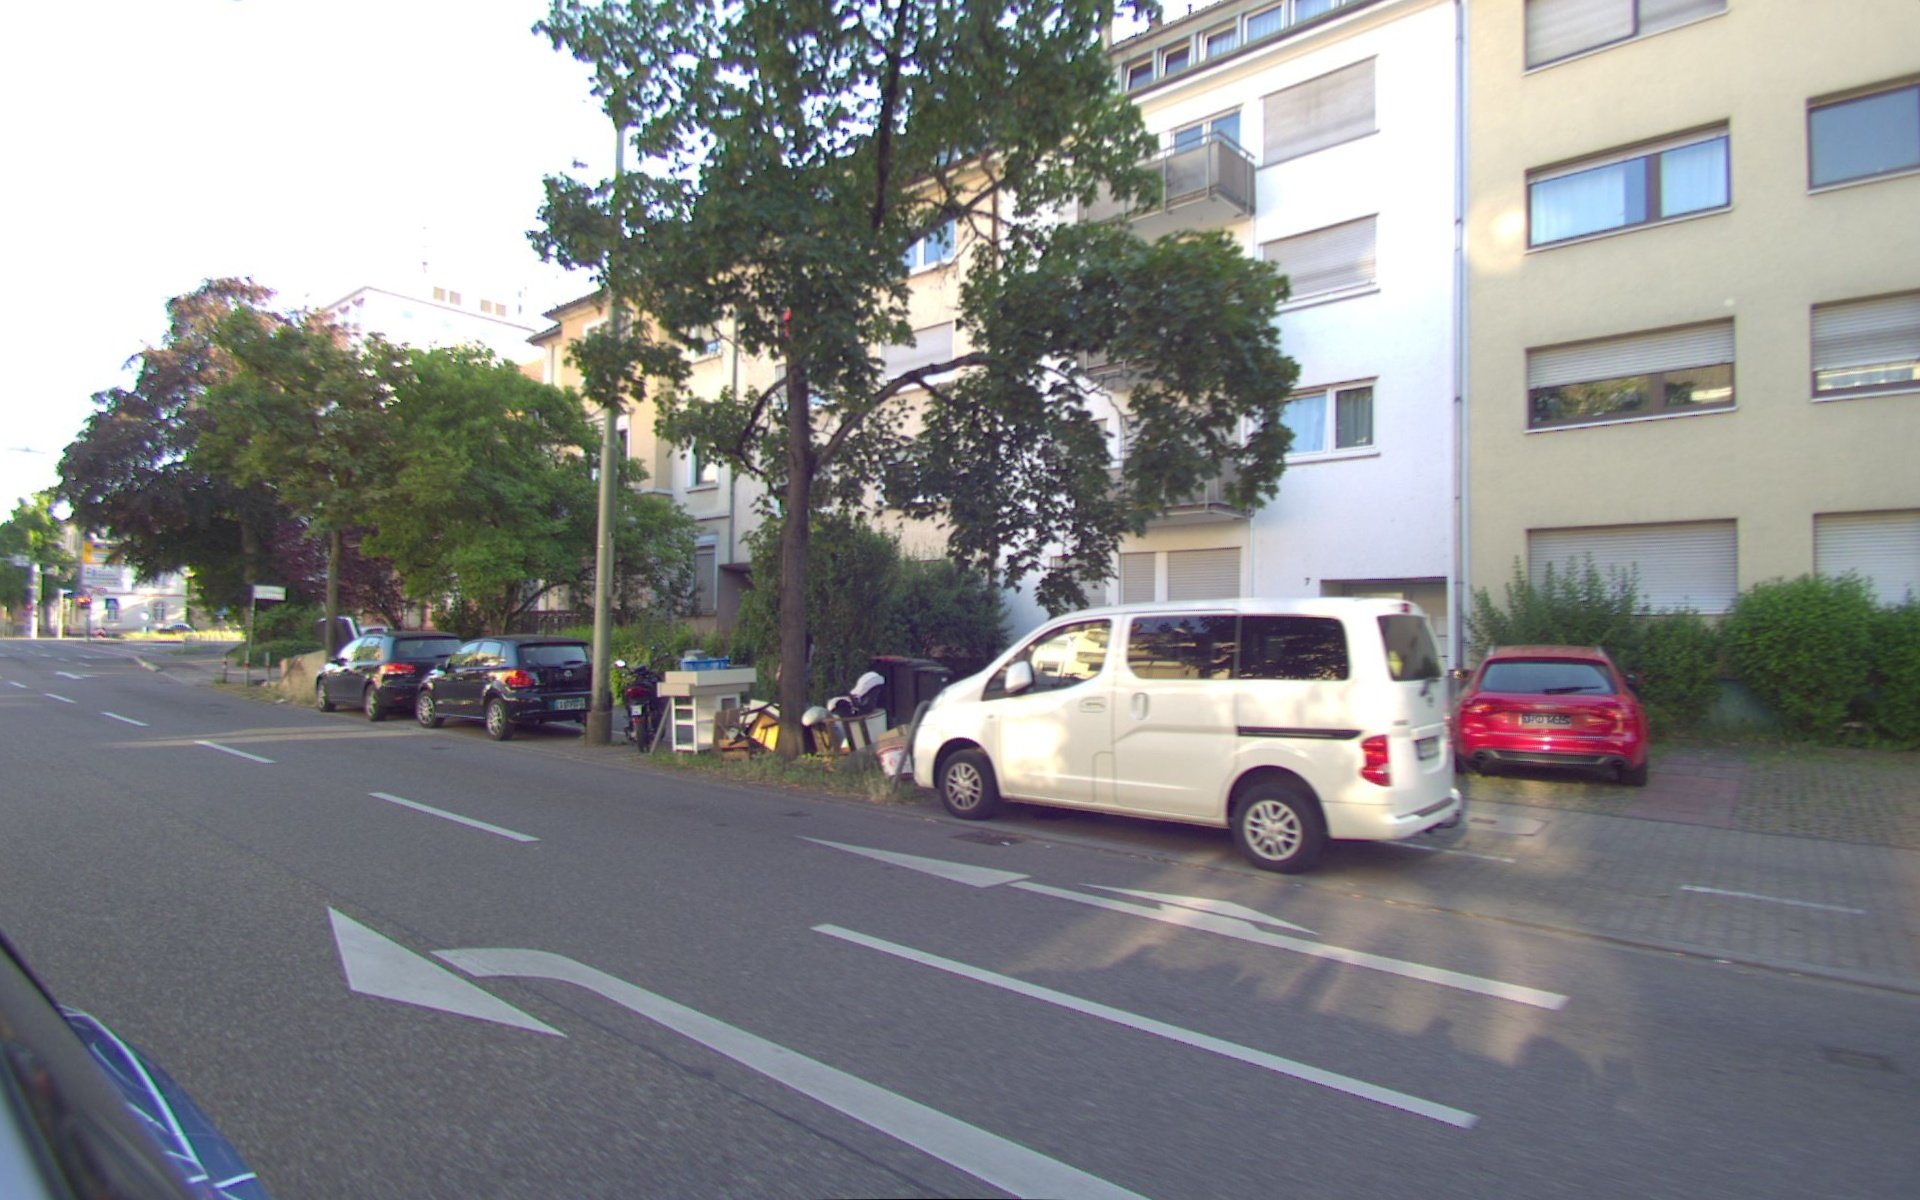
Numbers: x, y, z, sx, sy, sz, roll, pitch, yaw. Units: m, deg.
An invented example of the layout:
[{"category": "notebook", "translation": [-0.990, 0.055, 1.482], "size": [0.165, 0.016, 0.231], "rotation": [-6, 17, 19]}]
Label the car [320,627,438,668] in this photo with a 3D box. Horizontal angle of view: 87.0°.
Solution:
[{"category": "car", "translation": [-22.044, 1.798, 38.475], "size": [1.812, 1.497, 3.465], "rotation": [-2, -3, 36]}]

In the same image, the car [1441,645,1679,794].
[{"category": "car", "translation": [6.900, 1.230, 12.028], "size": [1.990, 1.373, 4.682], "rotation": [-1, -3, 27]}]

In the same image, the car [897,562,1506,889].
[{"category": "car", "translation": [1.697, 0.824, 8.135], "size": [4.456, 1.934, 1.751], "rotation": [-2, -3, 41]}]

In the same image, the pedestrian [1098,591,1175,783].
[{"category": "pedestrian", "translation": [1.950, 0.937, 11.184], "size": [0.616, 2.029, 0.620], "rotation": [-2, -3, 40]}]

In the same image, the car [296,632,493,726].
[{"category": "car", "translation": [-10.291, 1.350, 18.298], "size": [4.194, 1.514, 1.732], "rotation": [-2, -3, 41]}]

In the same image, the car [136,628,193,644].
[{"category": "car", "translation": [-72.582, 3.291, 92.362], "size": [1.996, 1.457, 3.603], "rotation": [-2, -3, 36]}]

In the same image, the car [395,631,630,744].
[{"category": "car", "translation": [-6.907, 1.246, 15.472], "size": [3.975, 1.514, 1.732], "rotation": [-2, -3, 41]}]

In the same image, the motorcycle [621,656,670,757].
[{"category": "motorcycle", "translation": [-4.084, 1.345, 13.207], "size": [0.434, 1.201, 1.711], "rotation": [1, -3, -12]}]

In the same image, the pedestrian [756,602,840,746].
[{"category": "pedestrian", "translation": [-2.380, 1.073, 14.893], "size": [0.975, 2.029, 0.759], "rotation": [-2, -3, 40]}]
